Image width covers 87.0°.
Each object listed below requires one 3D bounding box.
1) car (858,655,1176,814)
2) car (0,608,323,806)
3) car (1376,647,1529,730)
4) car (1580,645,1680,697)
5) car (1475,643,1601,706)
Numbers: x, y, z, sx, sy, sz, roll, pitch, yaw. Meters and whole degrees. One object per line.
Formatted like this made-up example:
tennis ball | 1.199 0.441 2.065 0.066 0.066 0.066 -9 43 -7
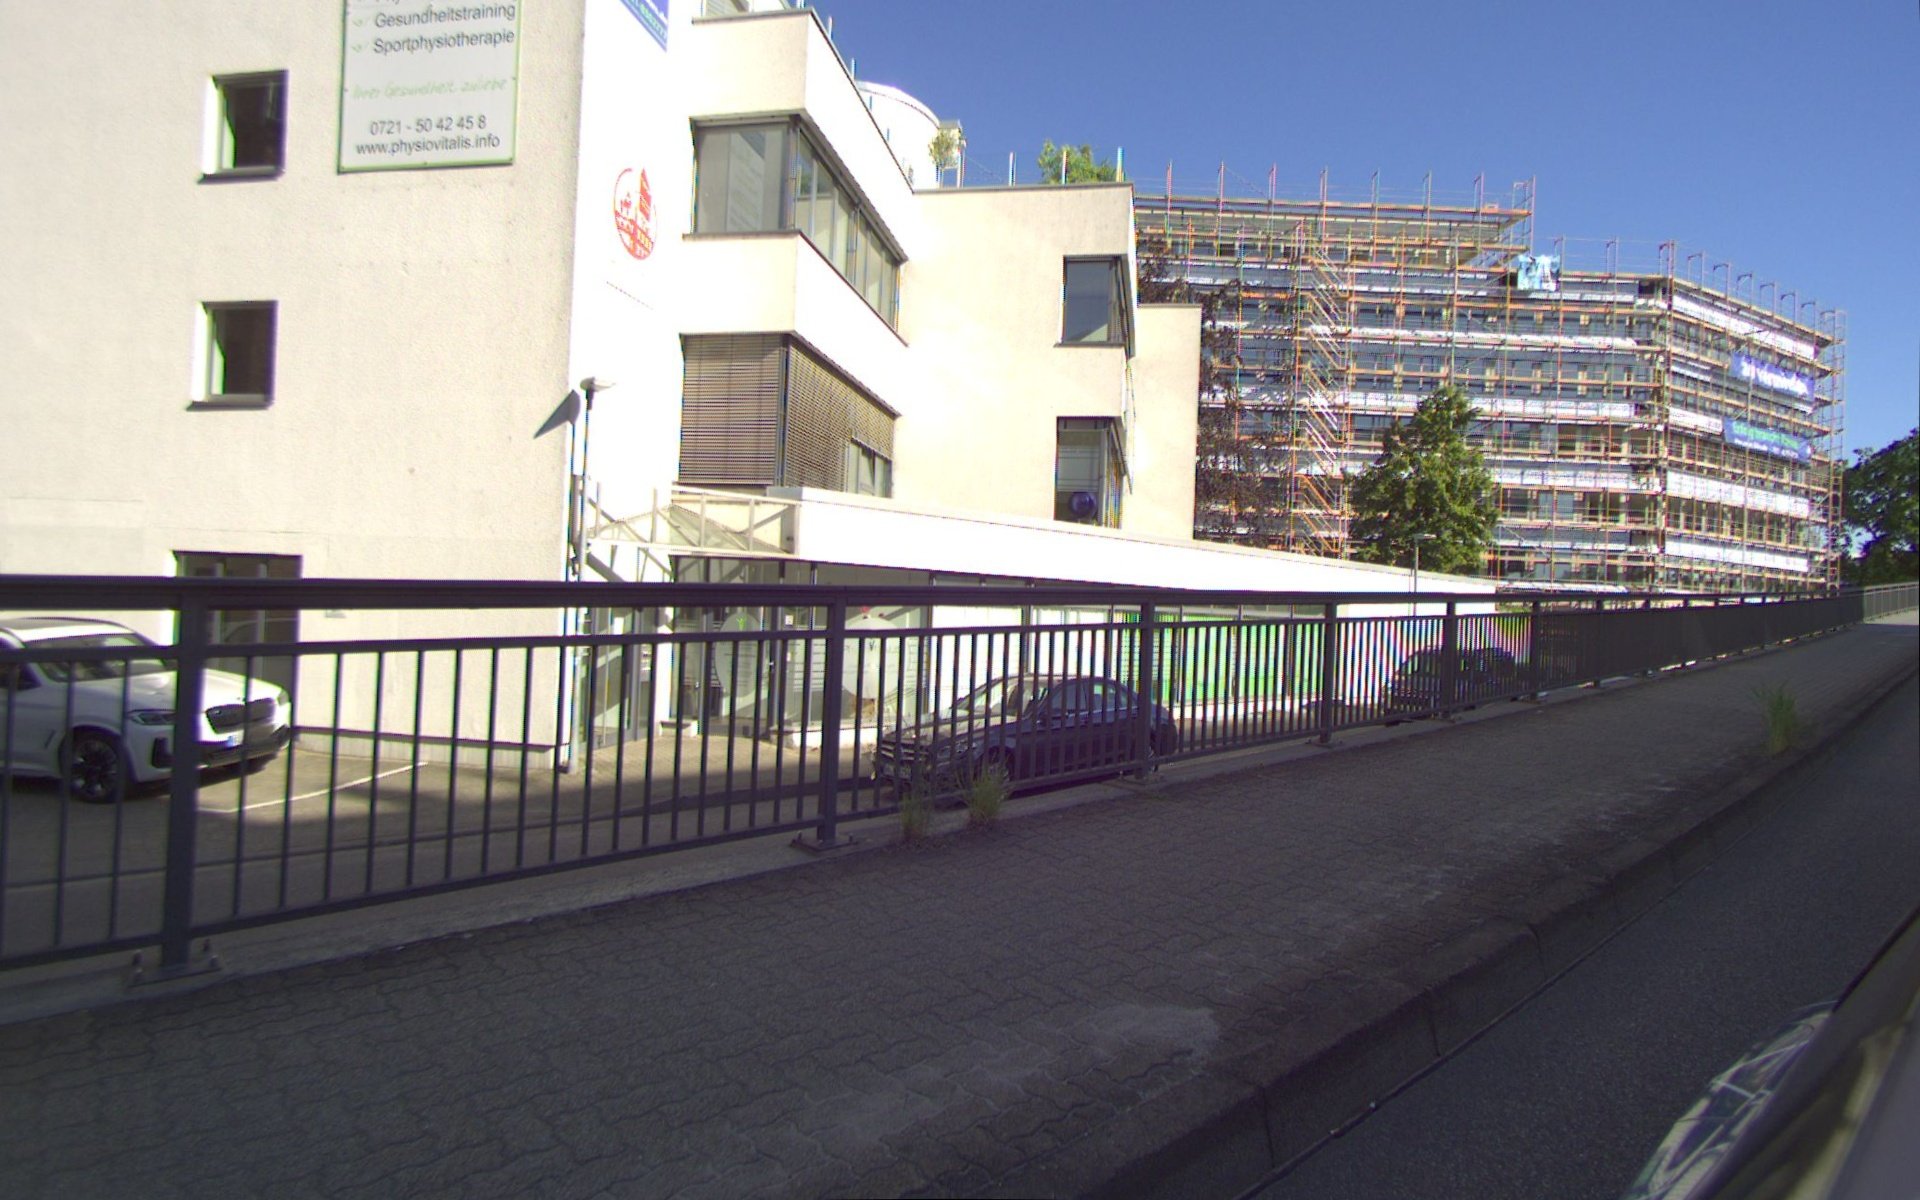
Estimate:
car | 0.818 1.547 12.806 3.929 1.541 1.724 1 -1 -41
car | -9.537 1.022 10.840 4.455 1.707 1.840 2 0 9
car | 10.868 1.863 22.226 3.931 1.541 1.723 1 -1 -42
car | 21.096 2.176 31.797 3.931 1.410 1.723 1 -1 -42
car | 14.990 1.870 26.157 3.931 1.410 1.723 1 -1 -42
